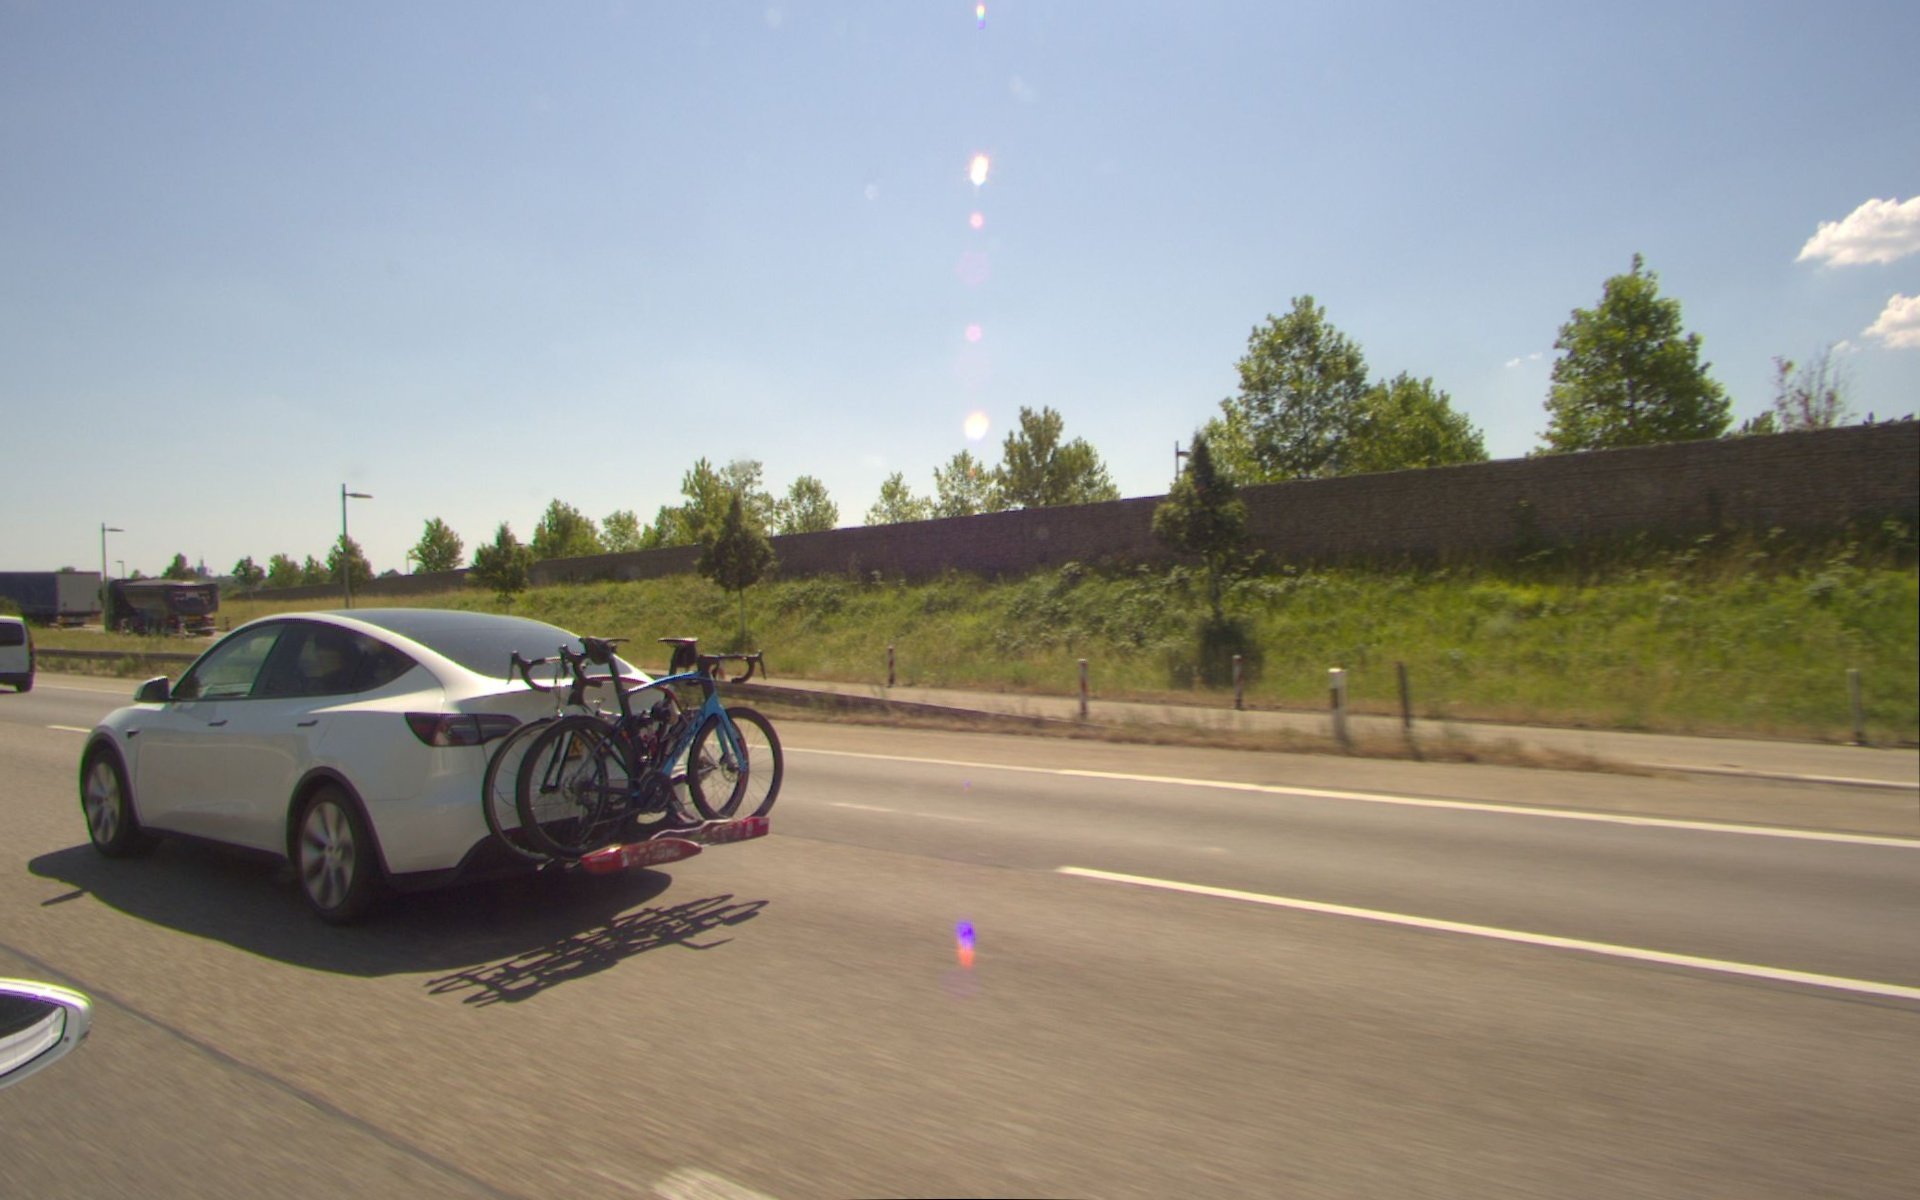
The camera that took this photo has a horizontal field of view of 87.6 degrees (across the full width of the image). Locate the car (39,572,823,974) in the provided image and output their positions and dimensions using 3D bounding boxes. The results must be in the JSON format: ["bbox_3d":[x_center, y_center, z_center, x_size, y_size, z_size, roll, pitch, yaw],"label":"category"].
[{"bbox_3d":[-3.643,0.787,6.440,5.520,1.657,1.948,-1,-2,32],"label":"car"}]

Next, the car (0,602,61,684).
[{"bbox_3d":[-23.576,1.004,23.951,4.117,1.862,1.947,-1,0,31],"label":"car"}]

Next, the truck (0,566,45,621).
[{"bbox_3d":[-76.035,-0.442,79.598,6.301,4.135,3.050,-1,-2,29],"label":"truck"}]

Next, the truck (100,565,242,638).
[{"bbox_3d":[-49.059,0.263,62.075,12.356,4.135,3.777,-1,-2,37],"label":"truck"}]

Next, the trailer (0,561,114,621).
[{"bbox_3d":[-68.985,-0.507,75.619,14.042,4.135,3.050,-1,-2,30],"label":"trailer"}]
